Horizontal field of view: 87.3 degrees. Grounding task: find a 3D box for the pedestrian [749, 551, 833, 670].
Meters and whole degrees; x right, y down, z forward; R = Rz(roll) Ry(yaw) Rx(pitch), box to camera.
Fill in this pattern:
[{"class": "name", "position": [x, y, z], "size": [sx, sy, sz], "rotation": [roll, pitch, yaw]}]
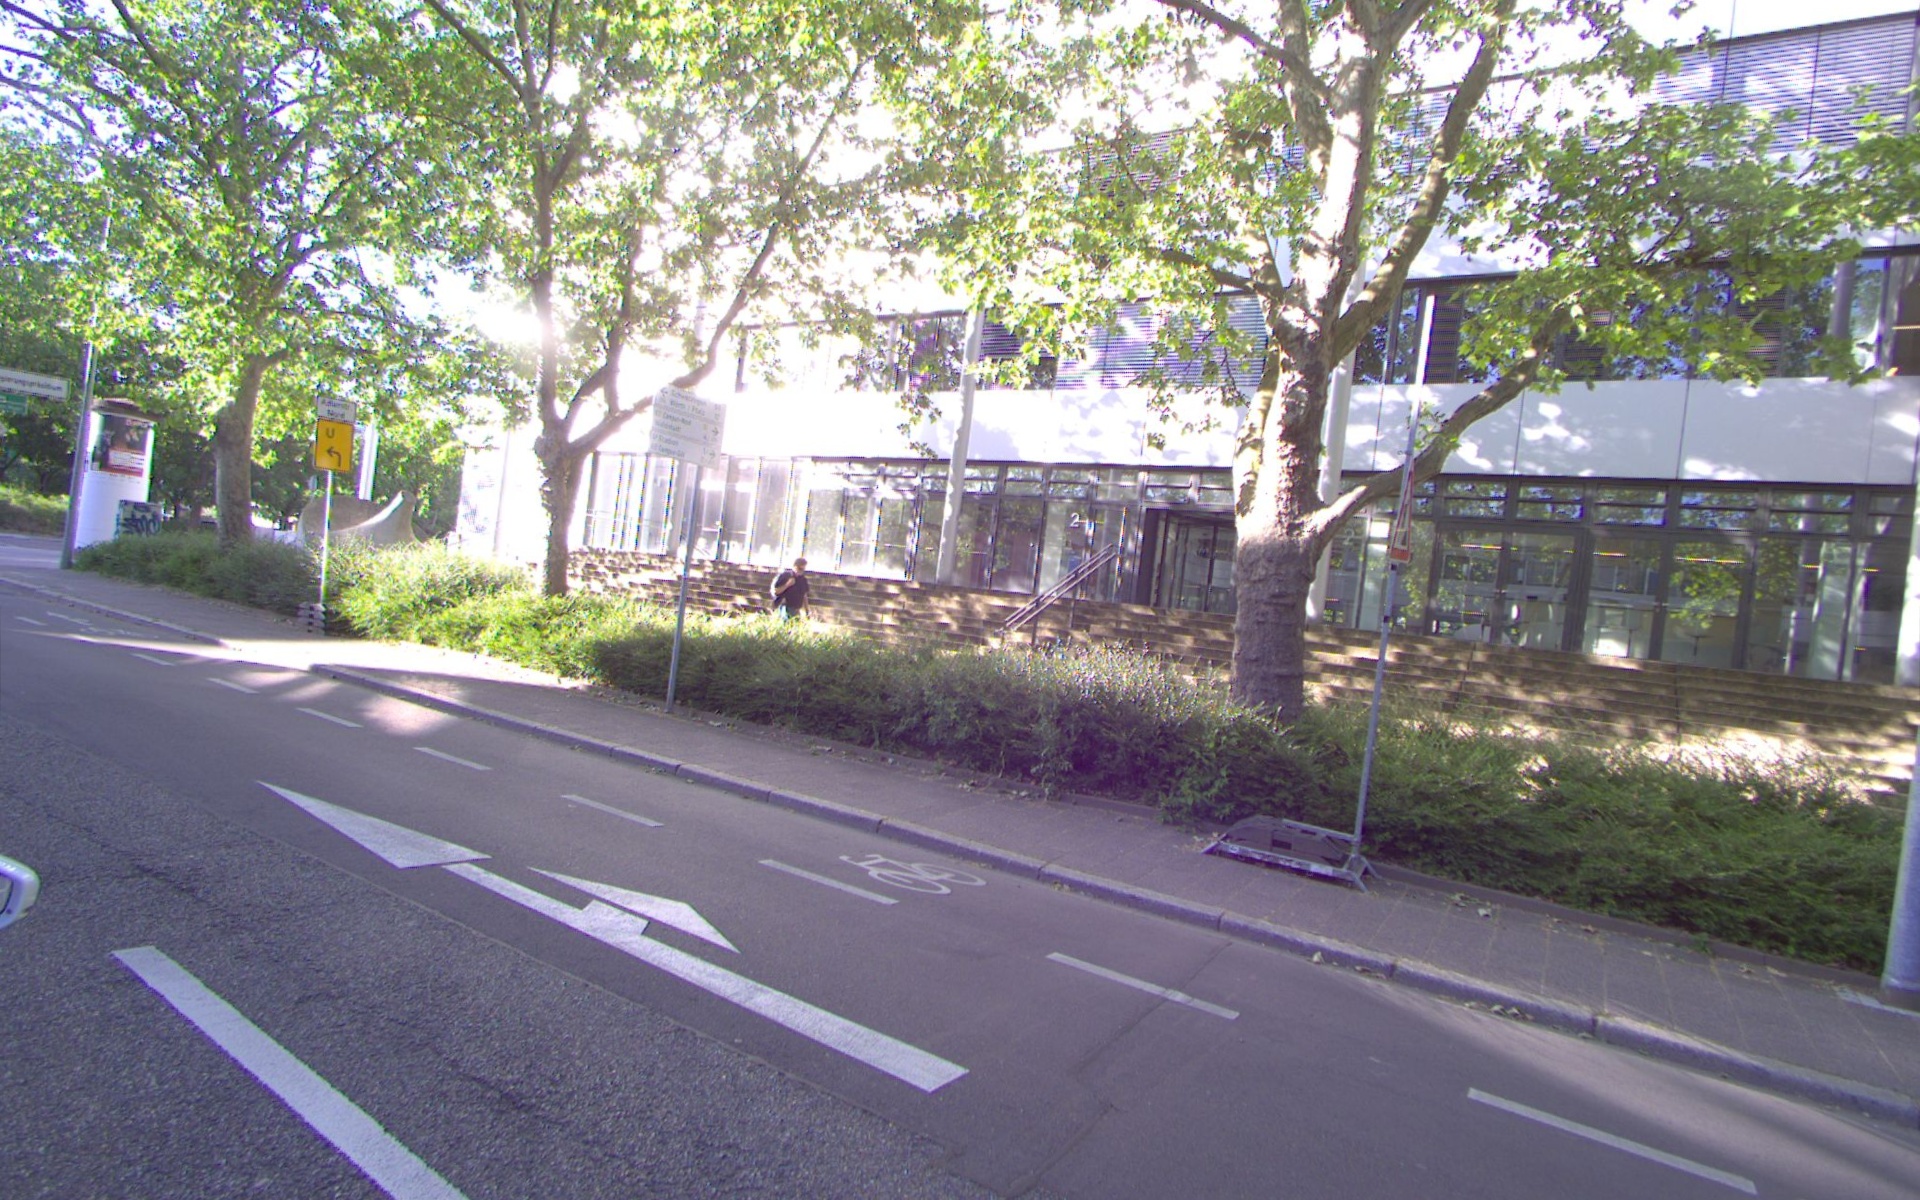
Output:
[{"class": "pedestrian", "position": [-2.740, 0.182, 16.340], "size": [0.848, 1.802, 0.785], "rotation": [7, 0, 30]}]
